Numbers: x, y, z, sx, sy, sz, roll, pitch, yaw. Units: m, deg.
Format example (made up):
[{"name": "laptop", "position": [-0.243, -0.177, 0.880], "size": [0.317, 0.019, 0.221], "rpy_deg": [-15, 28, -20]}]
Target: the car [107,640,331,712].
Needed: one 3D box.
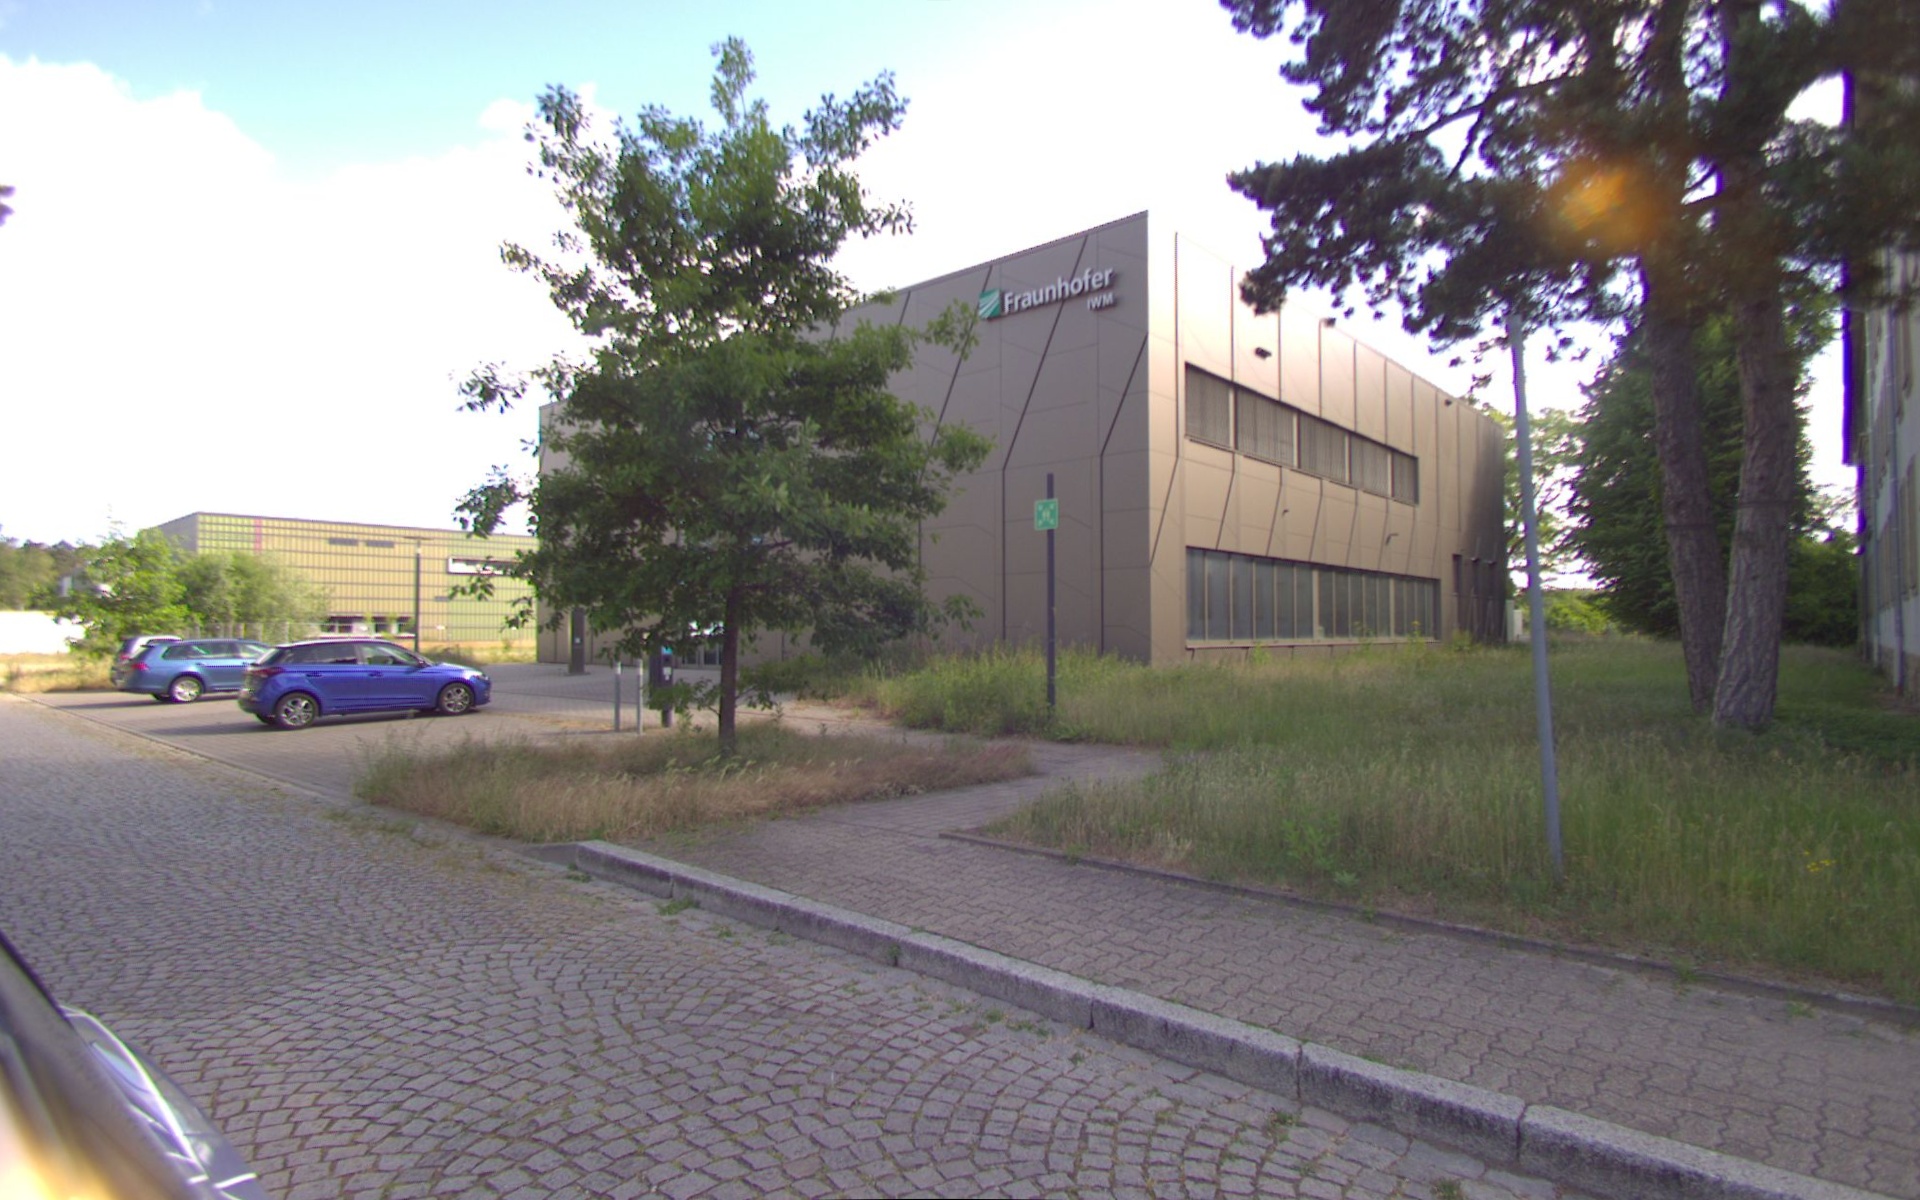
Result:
[{"name": "car", "position": [-17.963, 1.775, 24.685], "size": [1.733, 1.485, 4.127], "rpy_deg": [-2, -2, 39]}]

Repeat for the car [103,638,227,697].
[{"name": "car", "position": [-23.325, 1.949, 29.731], "size": [1.480, 1.580, 2.619], "rpy_deg": [-2, -2, 40]}]

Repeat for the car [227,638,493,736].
[{"name": "car", "position": [-10.831, 1.497, 18.447], "size": [1.735, 1.479, 3.865], "rpy_deg": [-2, -2, 44]}]
